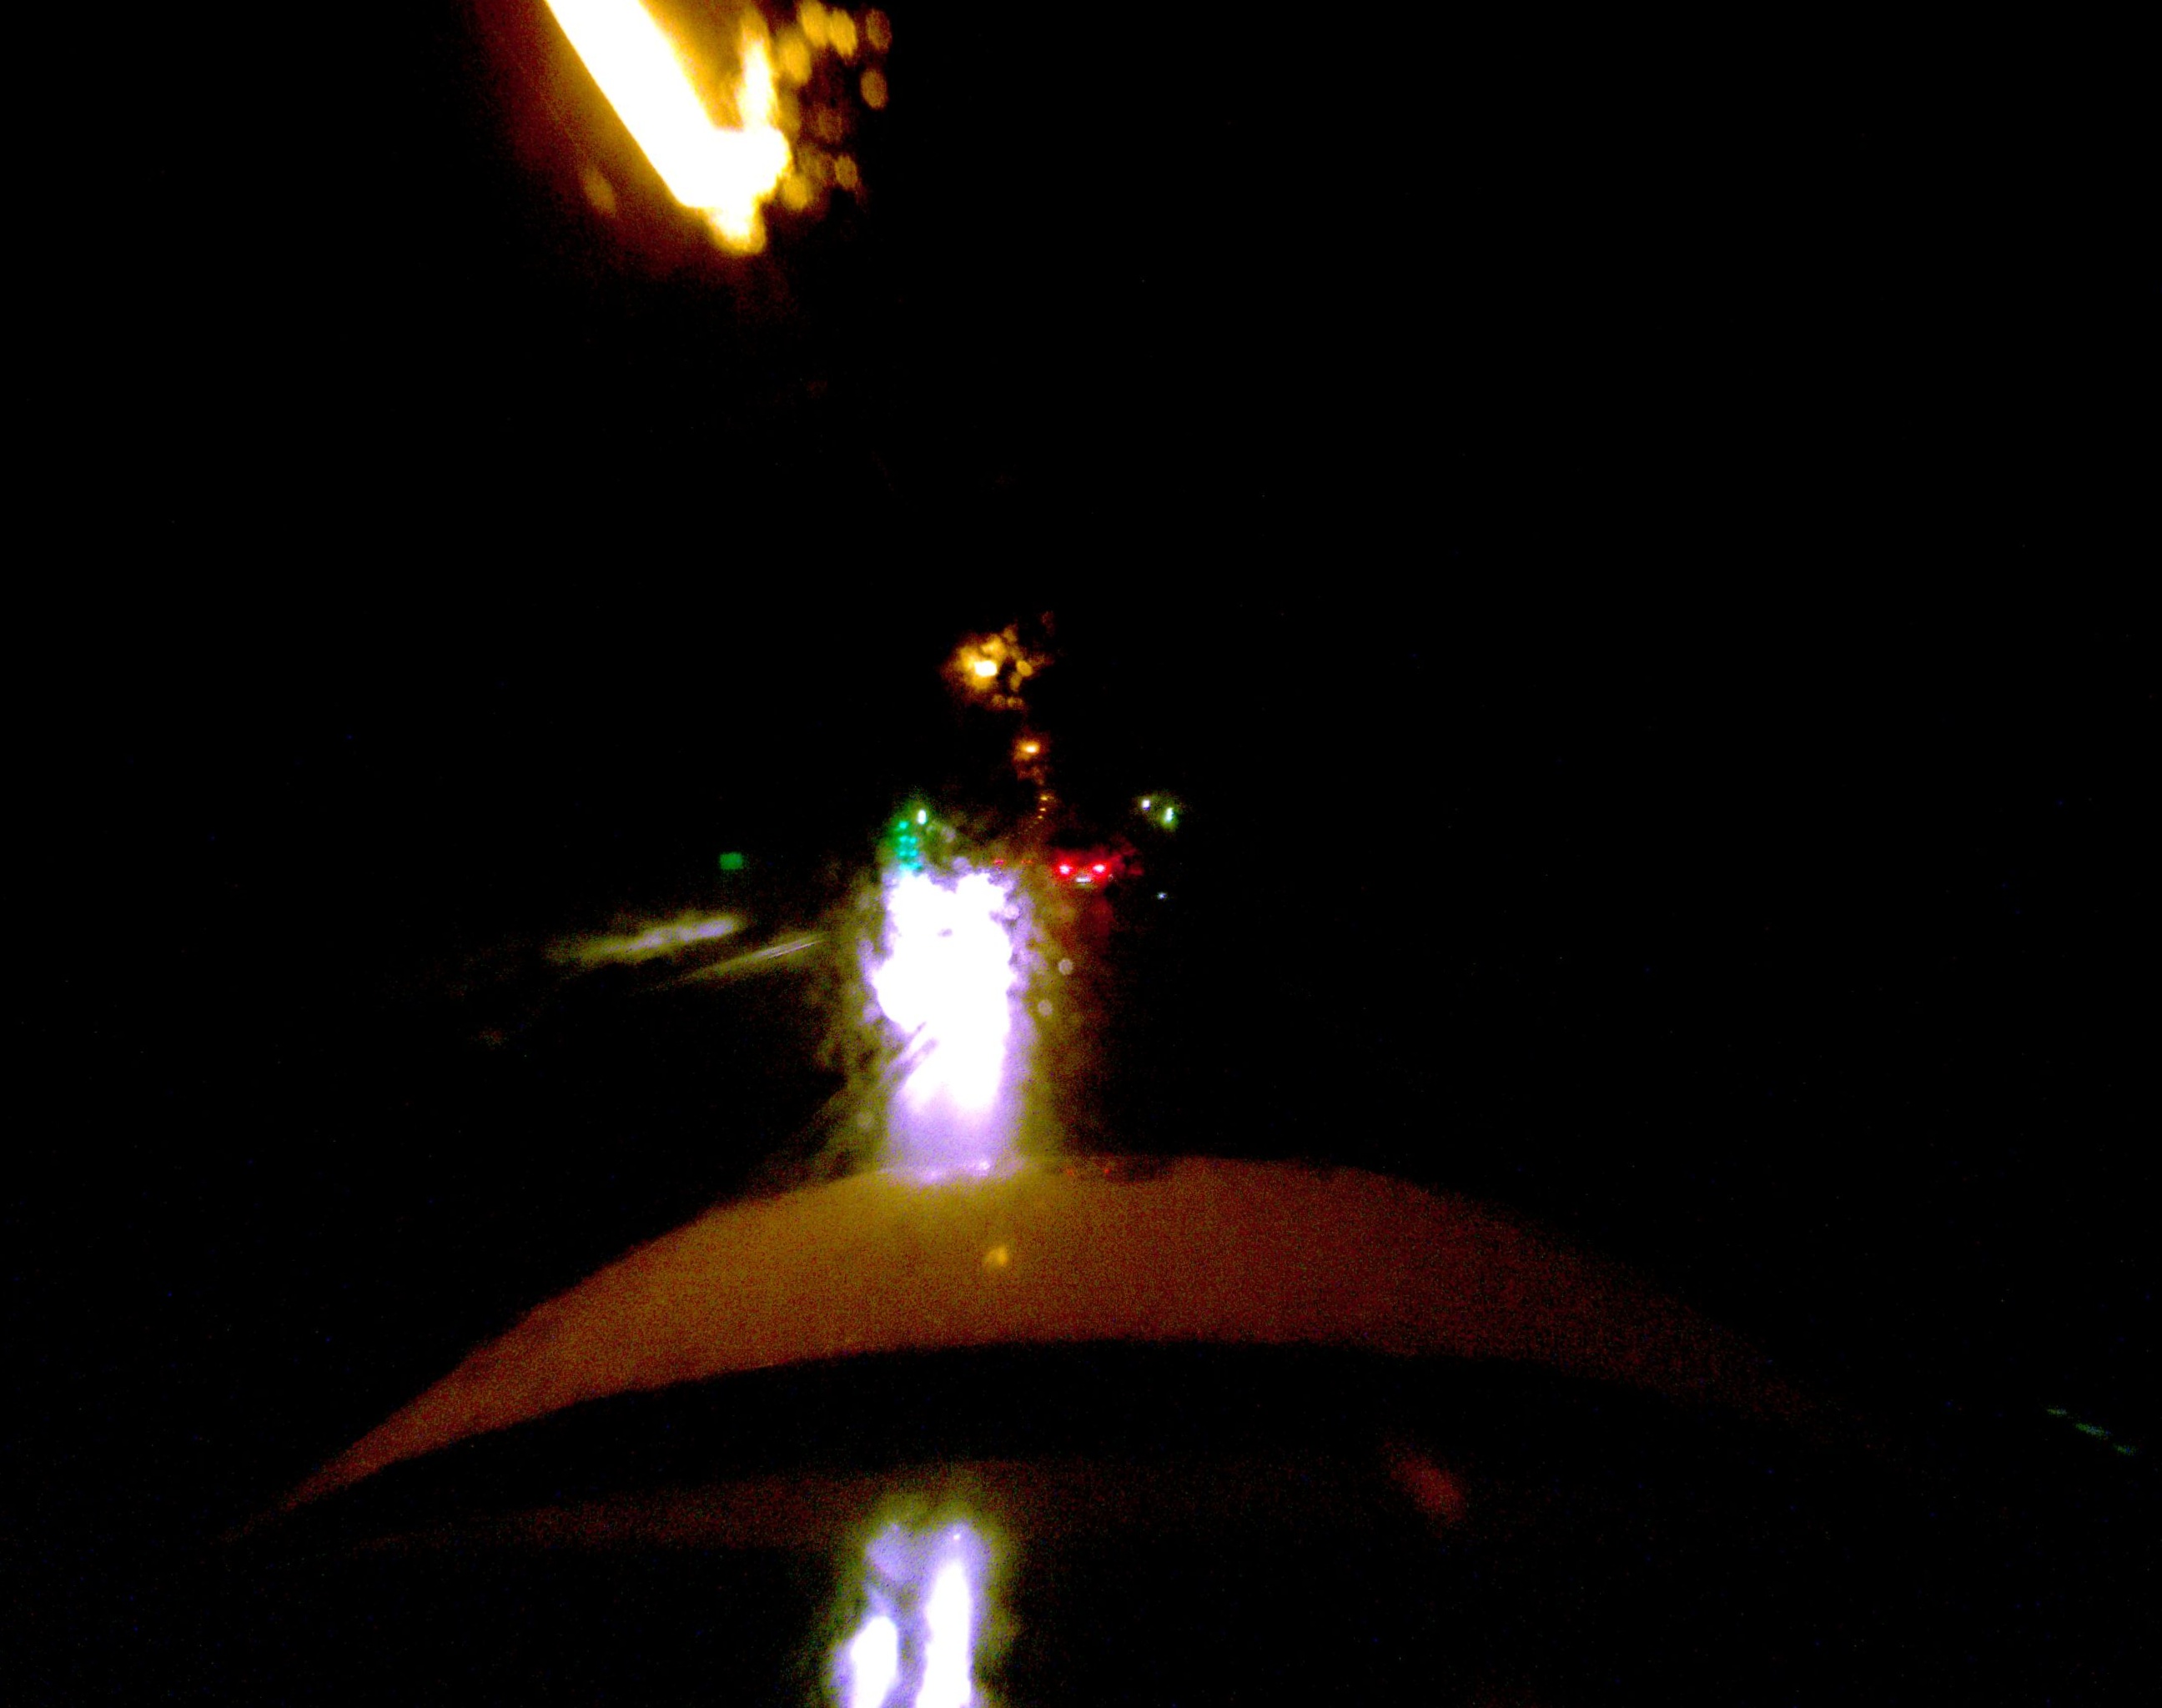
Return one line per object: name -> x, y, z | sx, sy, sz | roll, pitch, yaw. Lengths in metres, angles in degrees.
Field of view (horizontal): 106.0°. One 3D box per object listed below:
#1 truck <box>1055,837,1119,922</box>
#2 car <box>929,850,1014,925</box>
truck -> 0.315, 0.921, 32.710 | 2.254, 3.011, 7.417 | 0, 0, 1
car -> -2.639, 0.758, 20.359 | 1.626, 1.650, 3.773 | -2, 0, -1
